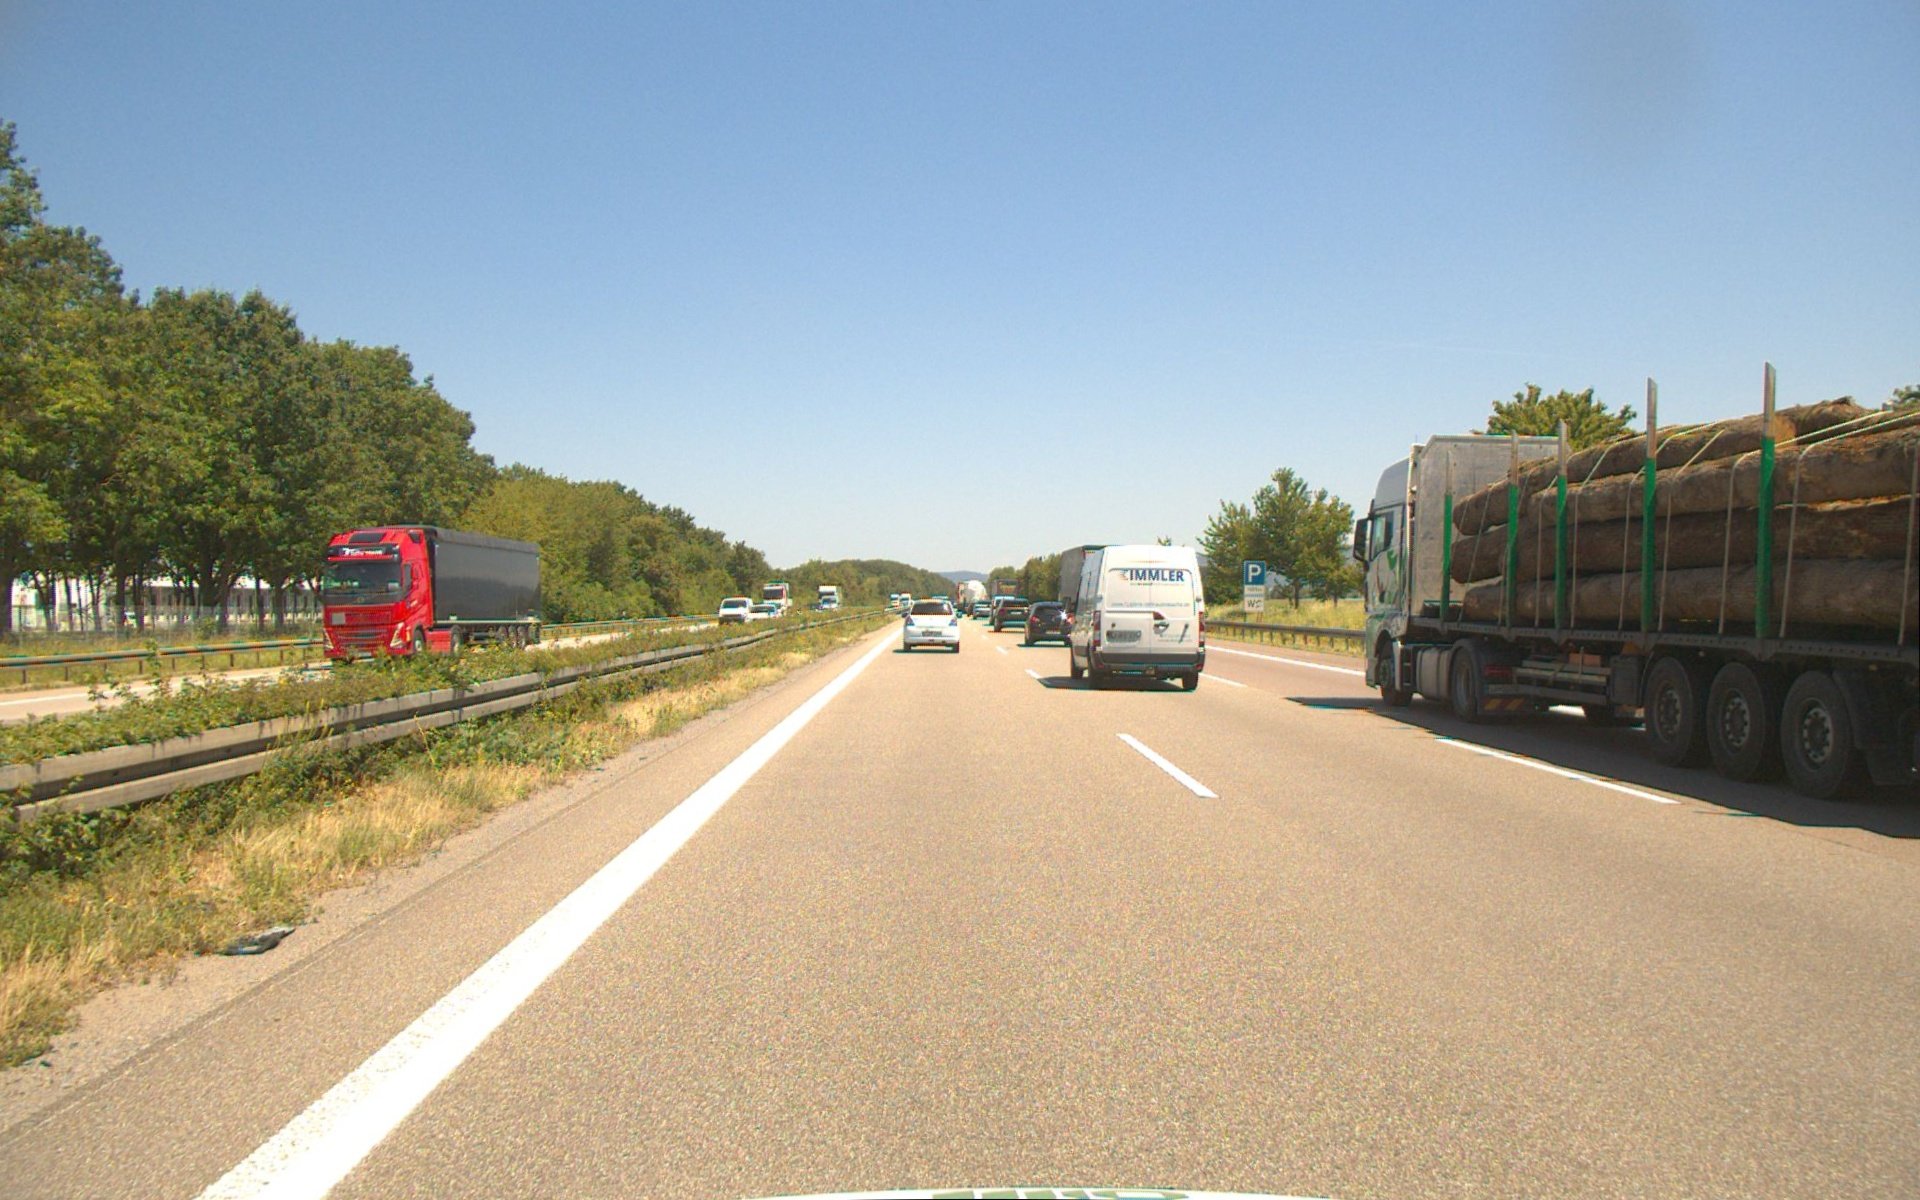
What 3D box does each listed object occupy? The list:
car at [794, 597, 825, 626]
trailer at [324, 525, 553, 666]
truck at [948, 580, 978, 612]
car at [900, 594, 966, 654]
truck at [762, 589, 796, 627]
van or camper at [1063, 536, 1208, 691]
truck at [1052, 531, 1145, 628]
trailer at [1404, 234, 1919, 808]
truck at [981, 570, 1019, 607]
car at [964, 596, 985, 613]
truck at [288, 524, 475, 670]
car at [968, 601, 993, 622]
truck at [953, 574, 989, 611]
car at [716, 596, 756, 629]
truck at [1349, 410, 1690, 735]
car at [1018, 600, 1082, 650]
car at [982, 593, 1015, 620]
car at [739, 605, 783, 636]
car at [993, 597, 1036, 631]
[{"bbox_3d":[-10.984,0.819,120.875,1.955,1.946,5.209,-2,0,-3],"label":"car"},{"bbox_3d":[-17.430,-0.137,56.850,3.378,4.081,14.200,-3,0,-1],"label":"trailer"},{"bbox_3d":[0.318,-0.560,236.985,3.193,4.282,16.831,1,0,-3],"label":"truck"},{"bbox_3d":[-0.850,0.683,49.542,1.820,1.681,3.998,1,0,-3],"label":"car"},{"bbox_3d":[-18.916,0.827,173.447,2.552,3.827,9.863,-2,0,-1],"label":"truck"},{"bbox_3d":[3.208,0.234,31.425,2.016,2.668,5.984,0,0,-1],"label":"van or camper"},{"bbox_3d":[6.679,-0.932,82.712,3.016,4.282,16.841,1,0,0],"label":"truck"},{"bbox_3d":[7.945,-0.565,17.506,2.599,4.028,13.633,0,0,-1],"label":"trailer"},{"bbox_3d":[4.873,-1.351,205.567,3.193,4.282,16.831,1,0,-3],"label":"truck"},{"bbox_3d":[1.438,0.457,162.574,1.820,1.681,3.998,0,0,-3],"label":"car"},{"bbox_3d":[-17.306,-0.093,49.993,3.370,3.999,6.219,-3,0,-1],"label":"truck"},{"bbox_3d":[1.690,0.969,137.287,1.820,1.681,3.998,0,0,-3],"label":"car"},{"bbox_3d":[1.228,-0.911,201.440,3.193,4.282,16.831,1,0,-3],"label":"truck"},{"bbox_3d":[-13.974,0.736,103.313,1.955,1.946,5.209,-2,0,-3],"label":"car"},{"bbox_3d":[7.829,-0.357,24.138,2.615,4.064,6.634,0,0,-1],"label":"truck"},{"bbox_3d":[3.093,0.843,57.480,1.820,1.681,3.998,0,0,-3],"label":"car"},{"bbox_3d":[2.430,0.418,105.624,1.820,1.681,3.998,0,0,-3],"label":"car"},{"bbox_3d":[-10.717,1.068,89.211,1.882,1.555,4.866,-2,0,-2],"label":"car"},{"bbox_3d":[2.681,0.679,82.399,1.820,1.681,3.998,0,0,-3],"label":"car"}]
